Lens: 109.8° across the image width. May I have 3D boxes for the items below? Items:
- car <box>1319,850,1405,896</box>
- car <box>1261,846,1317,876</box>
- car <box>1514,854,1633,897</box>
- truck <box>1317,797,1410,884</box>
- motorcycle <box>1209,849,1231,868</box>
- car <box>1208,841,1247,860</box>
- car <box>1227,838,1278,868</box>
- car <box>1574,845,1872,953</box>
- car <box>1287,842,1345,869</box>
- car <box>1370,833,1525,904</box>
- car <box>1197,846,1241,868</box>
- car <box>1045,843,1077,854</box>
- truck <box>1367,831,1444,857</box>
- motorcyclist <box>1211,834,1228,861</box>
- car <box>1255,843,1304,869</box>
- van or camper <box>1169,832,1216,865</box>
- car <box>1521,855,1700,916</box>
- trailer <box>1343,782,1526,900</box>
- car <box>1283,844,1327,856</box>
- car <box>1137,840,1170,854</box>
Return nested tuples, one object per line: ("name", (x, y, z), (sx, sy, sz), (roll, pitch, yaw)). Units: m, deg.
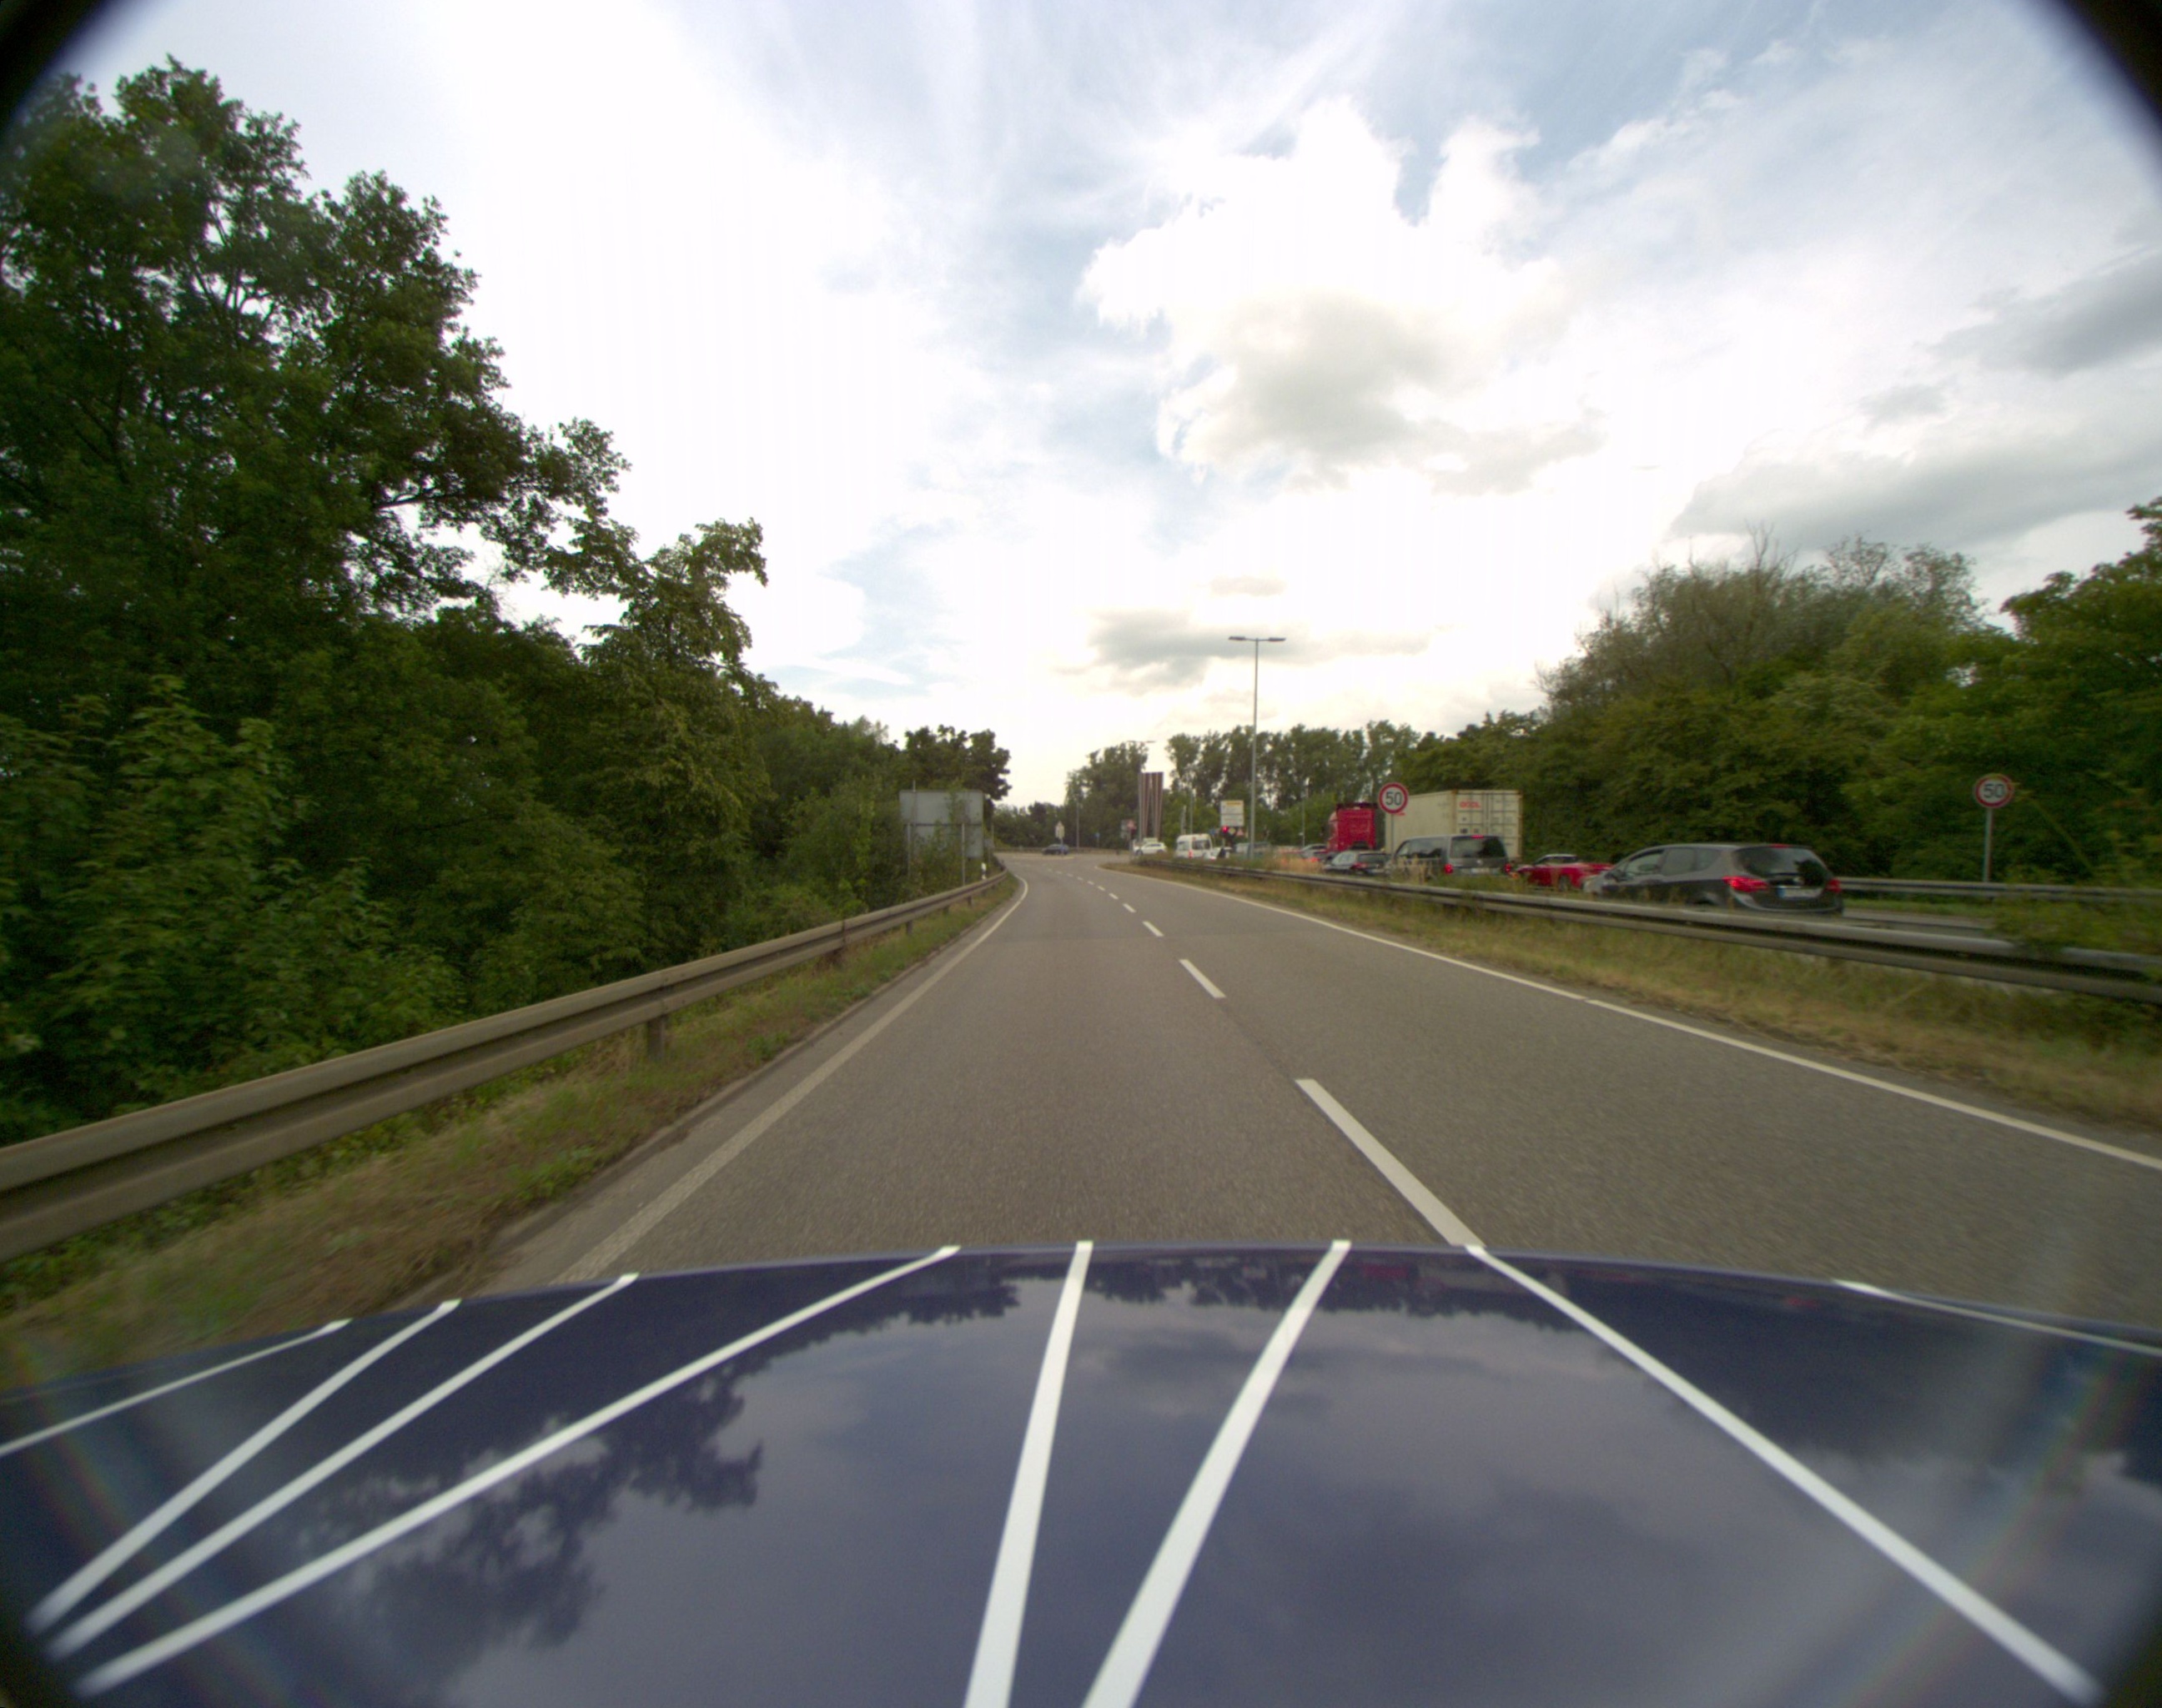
("car", (11.356, 0.702, 31.032), (1.845, 1.657, 4.333), (-1, 1, -2))
("car", (11.271, 0.342, 41.462), (1.809, 1.424, 4.123), (-1, 1, -3))
("car", (17.679, 0.722, 27.523), (1.627, 1.324, 4.159), (-1, 1, 1))
("truck", (14.200, -0.695, 38.677), (2.575, 4.060, 5.620), (-1, 2, -1))
("motorcycle", (9.612, 0.303, 52.600), (0.801, 1.218, 2.324), (-1, 2, -8))
("car", (12.703, -0.340, 66.239), (2.000, 1.538, 4.534), (-1, 1, -7))
("car", (10.810, -0.116, 48.305), (1.809, 1.719, 4.958), (-1, 1, -4))
("car", (10.570, 0.625, 12.979), (1.771, 1.498, 3.939), (-1, 1, 0))
("car", (14.246, 0.056, 46.321), (1.809, 1.458, 4.275), (-1, 1, -6))
("car", (10.690, 0.329, 22.735), (2.015, 1.853, 5.276), (-1, 1, -1))
("car", (10.158, 0.196, 56.180), (2.000, 1.490, 4.396), (-1, 1, -7))
("car", (-2.788, -0.789, 105.922), (2.004, 1.480, 4.364), (-2, 2, -43))
("truck", (42.413, -1.339, 99.238), (9.279, 3.118, 2.968), (-1, 2, -12))
("motorcyclist", (9.570, -0.443, 52.526), (0.868, 1.813, 0.924), (-1, 2, -8))
("car", (13.611, 0.096, 52.205), (1.999, 1.605, 3.997), (-1, 1, -5))
("van or camper", (9.277, -0.523, 63.928), (2.167, 2.574, 6.489), (-1, 1, -8))
("car", (13.317, 0.727, 19.445), (1.824, 1.281, 3.999), (-1, 1, 1))
("trailer", (14.329, -0.582, 32.169), (2.541, 4.124, 10.767), (-1, 1, -1))
("car", (26.673, -0.471, 90.546), (4.575, 1.303, 1.997), (-1, 2, -11))
("car", (9.415, -0.943, 98.523), (4.252, 1.773, 1.928), (-1, 2, 7))
